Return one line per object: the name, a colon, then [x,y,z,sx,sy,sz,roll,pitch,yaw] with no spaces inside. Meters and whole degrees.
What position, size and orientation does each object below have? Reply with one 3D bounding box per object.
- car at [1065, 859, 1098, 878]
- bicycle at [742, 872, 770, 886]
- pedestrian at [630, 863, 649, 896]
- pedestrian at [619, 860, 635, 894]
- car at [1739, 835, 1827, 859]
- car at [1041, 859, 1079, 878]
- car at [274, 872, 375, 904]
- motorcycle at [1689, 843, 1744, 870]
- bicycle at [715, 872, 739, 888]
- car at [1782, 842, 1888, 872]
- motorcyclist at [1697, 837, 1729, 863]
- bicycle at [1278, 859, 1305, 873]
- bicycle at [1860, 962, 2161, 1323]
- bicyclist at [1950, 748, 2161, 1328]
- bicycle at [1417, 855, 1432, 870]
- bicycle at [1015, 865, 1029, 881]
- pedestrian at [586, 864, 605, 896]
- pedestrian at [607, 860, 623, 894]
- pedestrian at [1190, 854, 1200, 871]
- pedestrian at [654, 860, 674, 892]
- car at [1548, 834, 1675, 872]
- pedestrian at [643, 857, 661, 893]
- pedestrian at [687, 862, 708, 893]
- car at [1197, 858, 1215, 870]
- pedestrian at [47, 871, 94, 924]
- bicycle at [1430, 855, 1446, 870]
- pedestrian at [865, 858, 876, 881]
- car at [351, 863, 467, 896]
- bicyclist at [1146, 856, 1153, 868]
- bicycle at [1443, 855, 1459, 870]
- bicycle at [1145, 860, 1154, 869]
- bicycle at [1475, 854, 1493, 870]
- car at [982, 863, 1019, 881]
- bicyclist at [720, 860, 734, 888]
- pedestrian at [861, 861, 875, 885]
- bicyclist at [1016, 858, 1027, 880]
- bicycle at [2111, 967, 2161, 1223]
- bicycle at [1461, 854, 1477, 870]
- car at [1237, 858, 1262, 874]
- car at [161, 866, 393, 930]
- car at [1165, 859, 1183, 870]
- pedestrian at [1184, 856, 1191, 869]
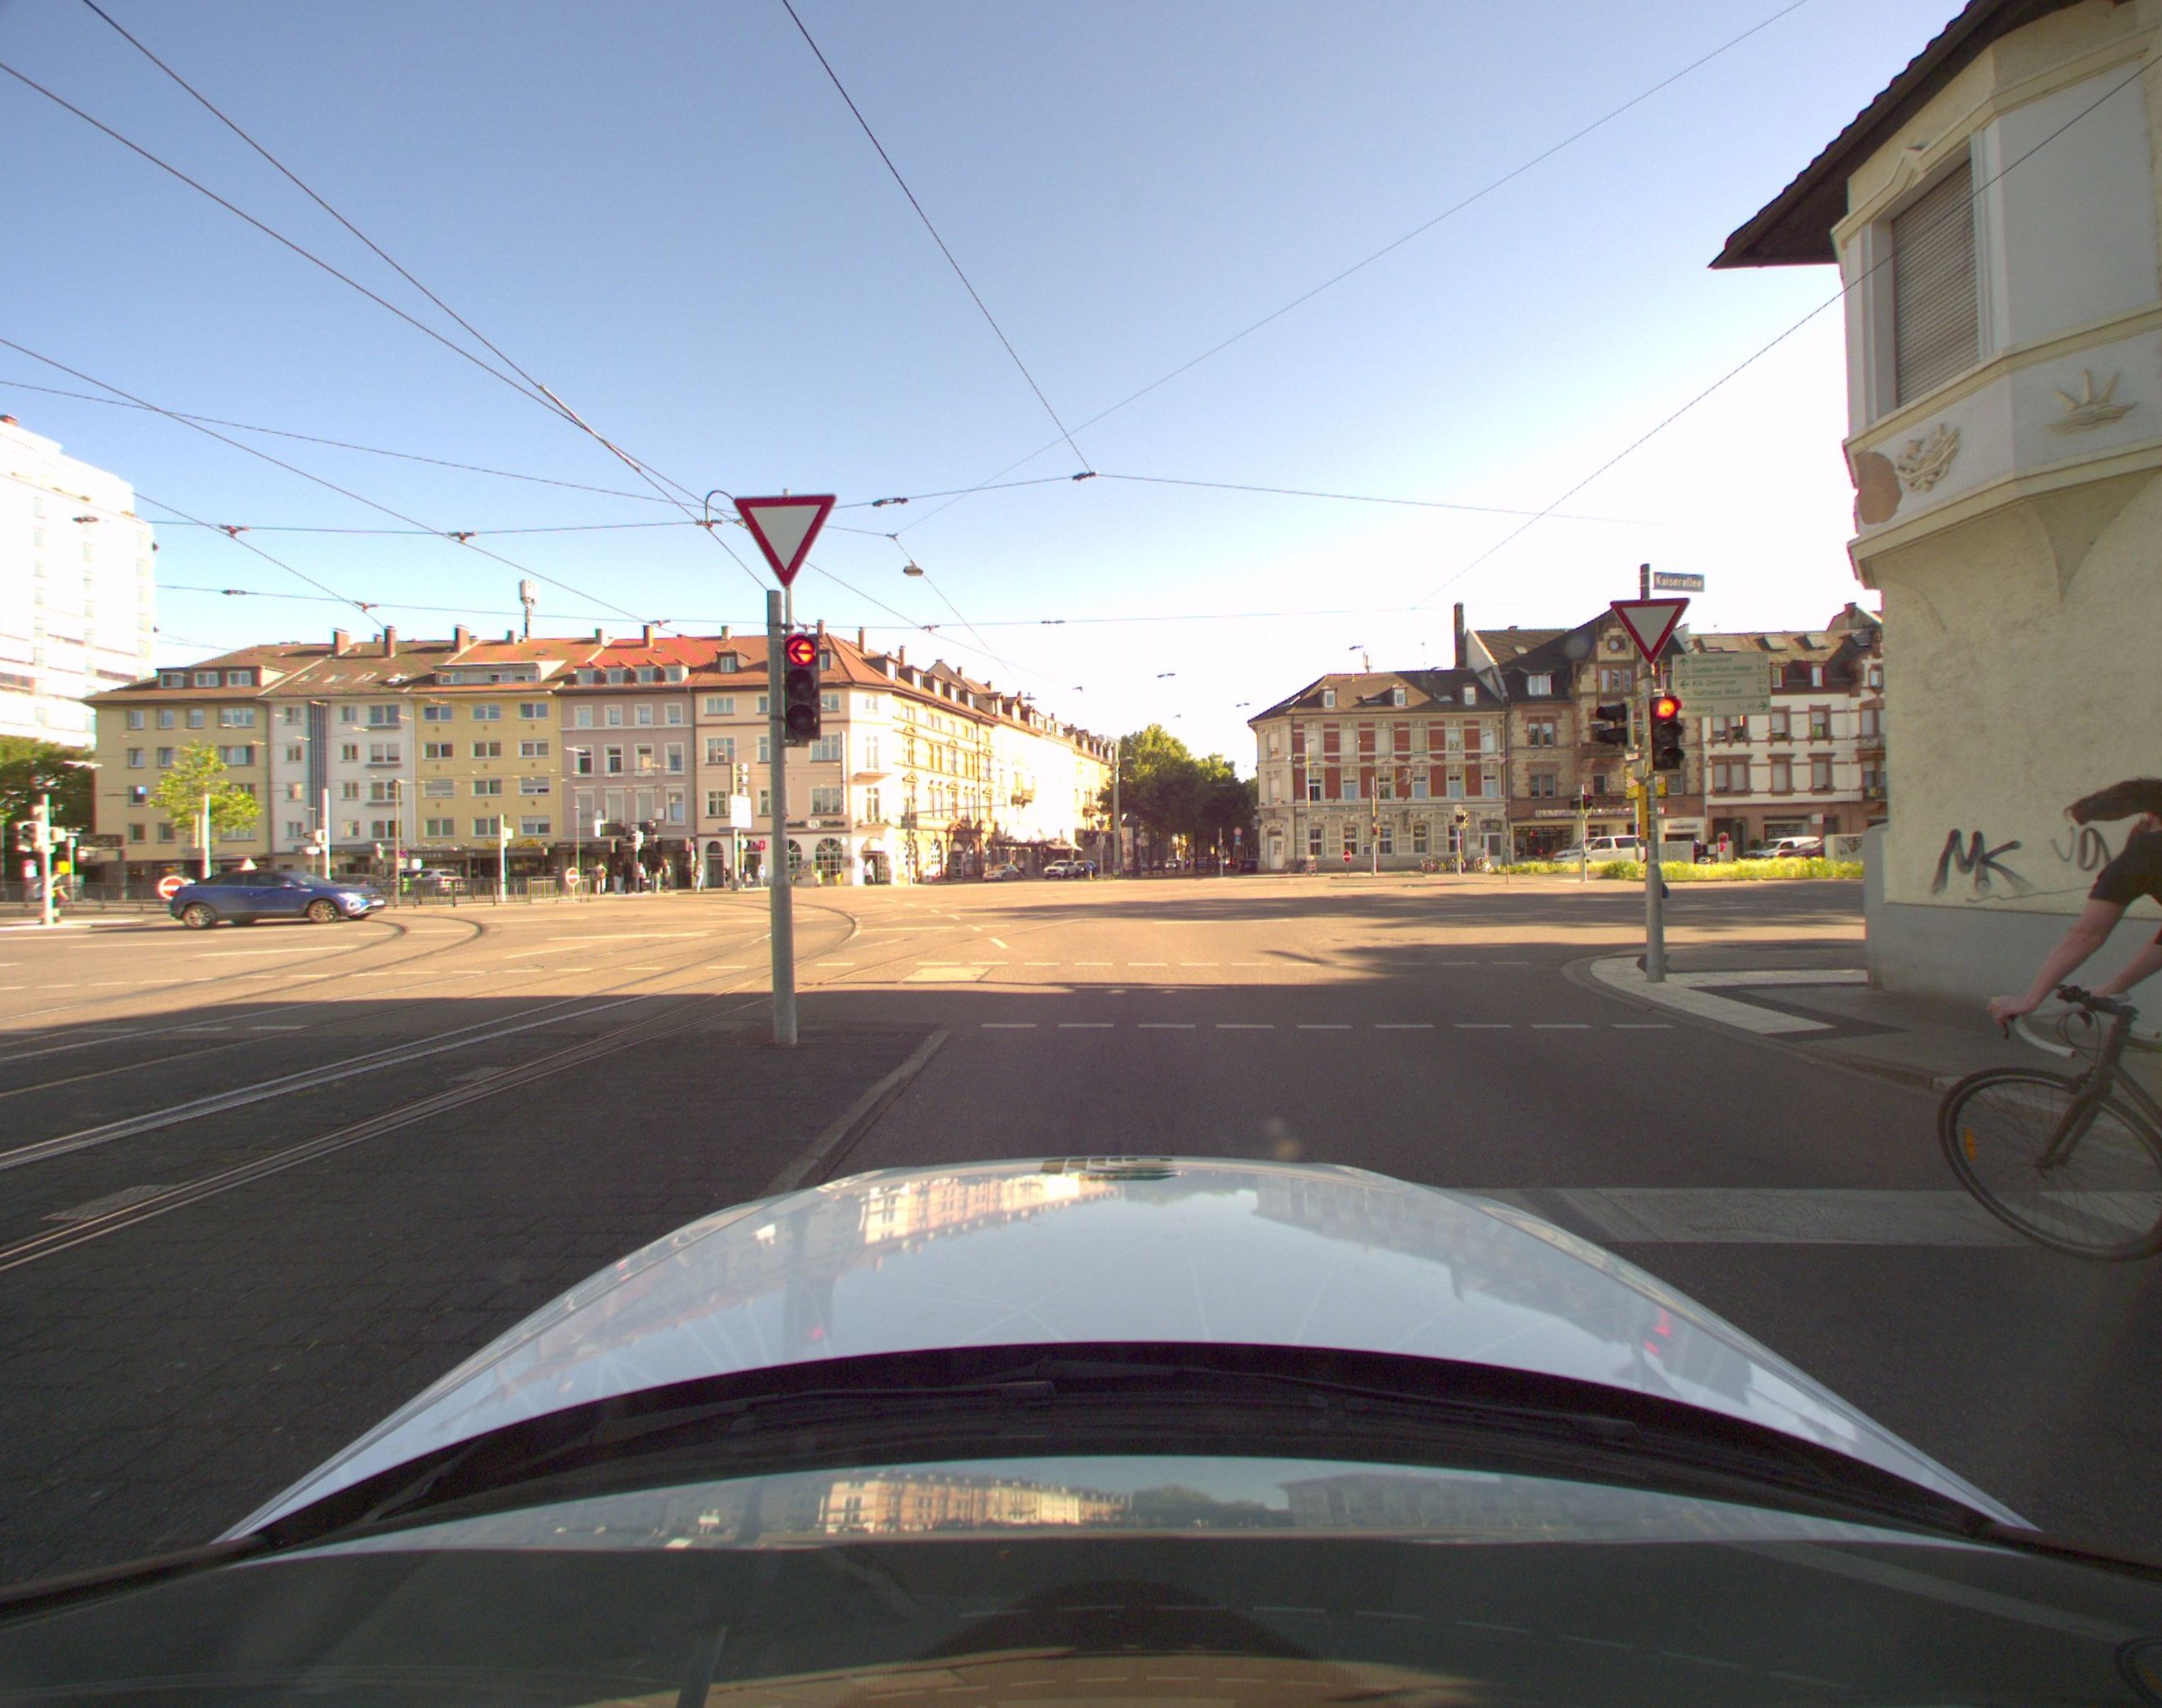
car: [0.073,1.295,73.774,1.809,1.685,3.893,-1,-1,18]
bicycle: [-22.985,1.760,57.603,1.694,0.983,0.611,0,-1,1]
pedestrian: [-22.939,1.321,42.303,0.571,1.648,0.727,0,-1,1]
pedestrian: [-22.569,1.141,40.487,0.520,1.648,0.498,0,-1,1]
car: [45.163,-0.443,52.434,3.961,1.438,1.874,0,-1,5]
car: [-1.678,1.183,67.477,1.788,1.585,4.179,-1,-1,19]
car: [-44.027,1.973,47.457,4.213,1.773,1.818,0,-1,1]
motorcycle: [32.377,0.124,41.503,2.124,1.333,0.798,0,-1,6]
bicycle: [-23.008,1.696,52.946,0.618,1.030,1.758,0,-1,7]
car: [37.940,0.153,41.036,3.854,1.426,1.596,-1,0,2]
motorcyclist: [32.218,-0.214,41.525,1.009,1.300,0.790,0,-1,6]
bicycle: [14.711,0.830,56.918,1.789,0.963,0.606,-1,-1,16]
bicycle: [3.588,0.956,2.624,0.480,0.991,1.783,0,-1,2]
bicyclist: [3.584,0.560,2.608,0.587,1.767,0.936,0,-1,2]
bicycle: [22.507,0.577,53.357,0.758,0.963,2.221,-1,-1,20]
bicycle: [-4.758,1.492,65.381,0.561,1.254,1.564,-1,-1,17]
pedestrian: [-25.082,1.327,42.104,0.582,1.648,0.616,0,-1,1]
pedestrian: [-23.185,1.146,40.535,0.520,1.648,0.498,0,-1,1]
pedestrian: [14.208,1.050,101.238,0.961,2.014,0.915,0,-1,-11]
pedestrian: [-21.545,1.116,42.049,0.580,1.648,0.840,0,-1,1]
car: [27.125,-0.046,41.801,5.179,1.854,2.001,-1,0,2]
pedestrian: [-21.608,1.048,41.056,0.525,1.823,0.677,0,-1,1]
pedestrian: [-19.793,1.194,42.072,0.666,1.594,0.815,0,-1,1]
car: [17.846,1.358,116.249,1.978,1.684,4.018,-1,-1,17]
pedestrian: [-31.705,1.342,25.552,0.606,1.609,0.770,-1,-1,23]
bicycle: [23.262,0.570,53.090,0.758,0.968,2.221,-1,-1,20]
pedestrian: [-15.288,1.145,59.095,0.592,1.676,0.492,0,-1,-41]
car: [-37.069,1.366,45.017,4.665,1.734,1.833,0,-1,-4]
bicyclist: [9.273,1.077,109.959,0.668,1.568,0.751,-1,-1,20]
bicycle: [24.061,0.563,52.998,0.758,0.983,2.221,-1,-1,20]
bicycle: [9.276,1.449,109.952,0.668,1.207,1.831,-1,-1,20]
bicycle: [26.065,0.533,52.712,0.785,1.016,2.221,-1,-1,20]
car: [-6.613,1.480,67.356,1.647,1.374,3.909,-1,-1,17]
bicyclist: [-23.008,1.305,52.972,0.618,1.790,0.616,0,-1,7]
pedestrian: [-14.733,1.339,56.305,0.562,1.642,0.797,-1,-1,25]
bicyclist: [-4.766,1.208,65.392,0.561,1.804,0.918,-1,-1,17]
bicycle: [4.459,0.947,2.445,0.501,0.983,1.783,0,-1,2]
bicycle: [25.196,0.541,52.885,0.758,1.007,2.231,-1,-1,20]
car: [17.028,1.179,82.277,1.741,1.556,4.021,-1,-1,22]
car: [-22.170,1.169,22.668,4.194,1.575,1.821,-1,0,-16]
car: [13.078,1.499,114.406,1.788,1.575,3.908,-1,-1,17]
pedestrian: [16.875,1.289,128.927,0.936,2.014,0.830,-1,-1,16]
